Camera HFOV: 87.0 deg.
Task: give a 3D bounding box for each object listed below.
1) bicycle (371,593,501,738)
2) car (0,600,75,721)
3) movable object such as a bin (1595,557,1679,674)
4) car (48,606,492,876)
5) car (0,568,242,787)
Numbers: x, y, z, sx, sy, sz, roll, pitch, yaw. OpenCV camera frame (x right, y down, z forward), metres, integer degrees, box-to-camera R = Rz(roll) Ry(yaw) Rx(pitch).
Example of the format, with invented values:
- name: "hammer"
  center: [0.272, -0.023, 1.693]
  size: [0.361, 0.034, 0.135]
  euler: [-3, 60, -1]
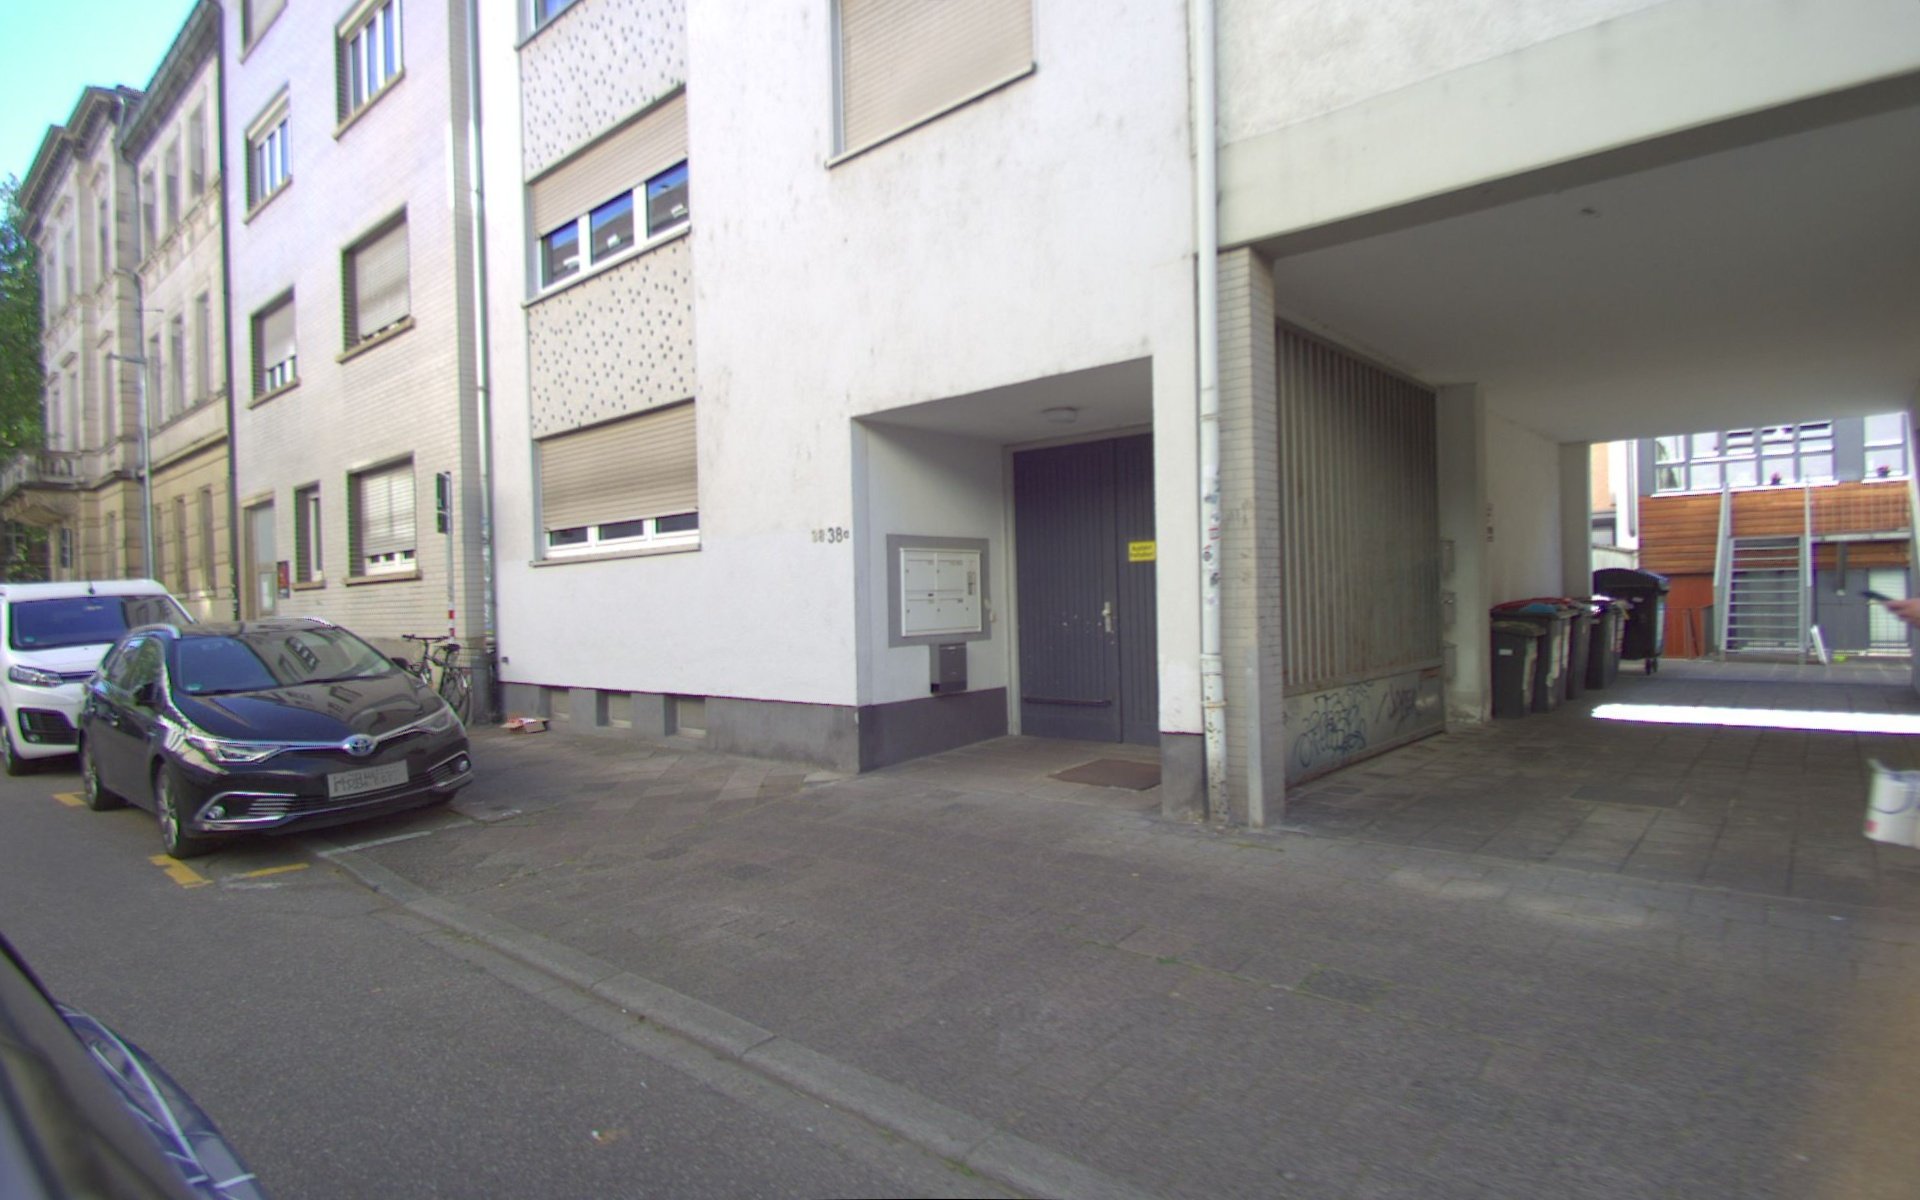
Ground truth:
- name: "bicycle"
  center: [-5.968, 0.714, 11.484]
  size: [1.798, 1.520, 0.552]
  euler: [-2, 1, 38]
- name: "car"
  center: [-17.107, 1.069, 17.760]
  size: [4.088, 1.890, 1.727]
  euler: [-2, 3, 41]
- name: "movable object such as a bin"
  center: [9.154, 0.209, 13.688]
  size: [0.854, 1.538, 0.504]
  euler: [-2, -1, 41]
- name: "car"
  center: [-5.418, 0.838, 7.713]
  size: [4.298, 1.461, 1.689]
  euler: [-2, 1, 40]
- name: "car"
  center: [-10.155, 0.772, 11.611]
  size: [4.777, 1.973, 1.876]
  euler: [-2, 1, 40]
